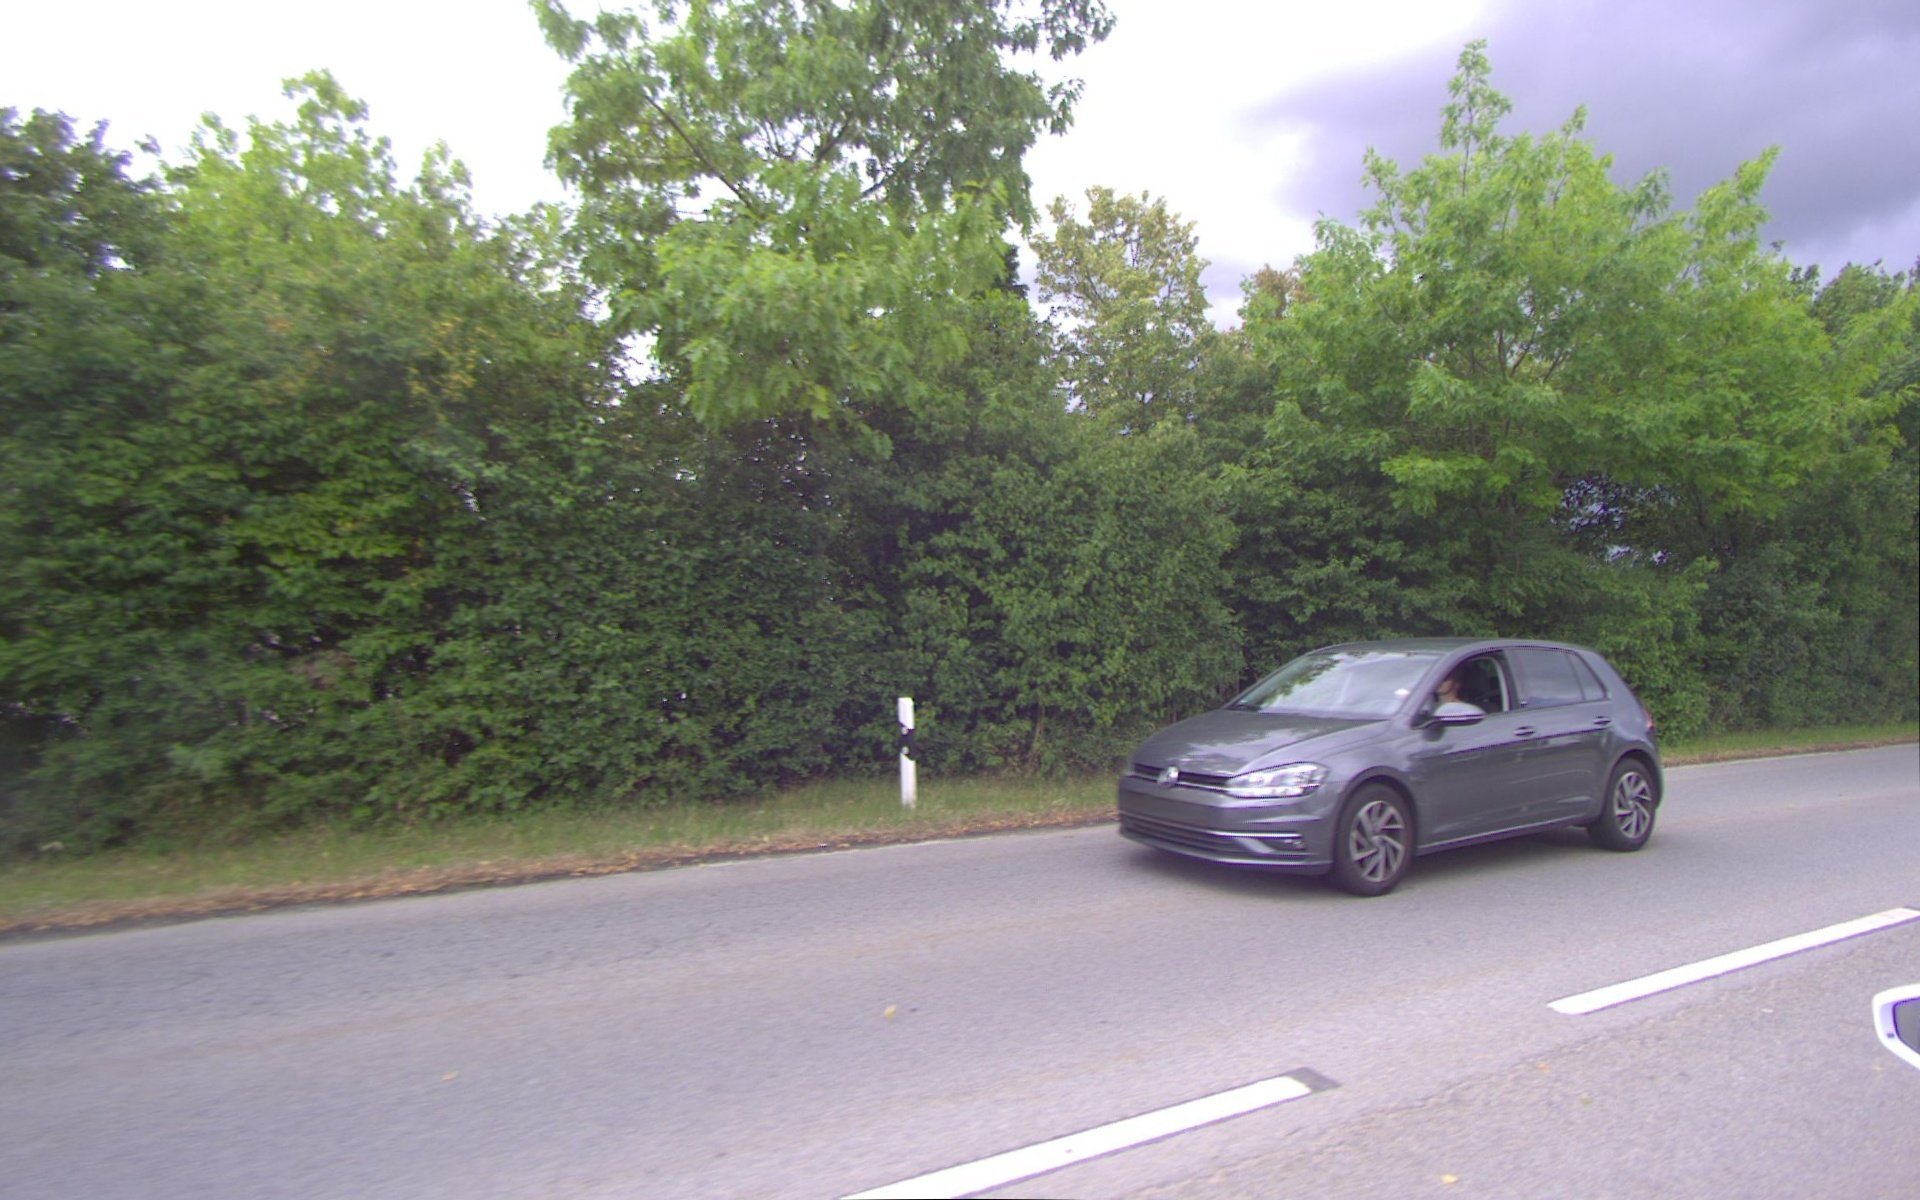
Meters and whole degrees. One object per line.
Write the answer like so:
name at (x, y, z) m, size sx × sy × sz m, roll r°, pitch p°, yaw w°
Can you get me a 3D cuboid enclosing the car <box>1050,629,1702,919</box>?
car at (2.994, 0.977, 7.030) m, size 4.427 × 1.437 × 1.984 m, roll 2°, pitch -4°, yaw -31°
